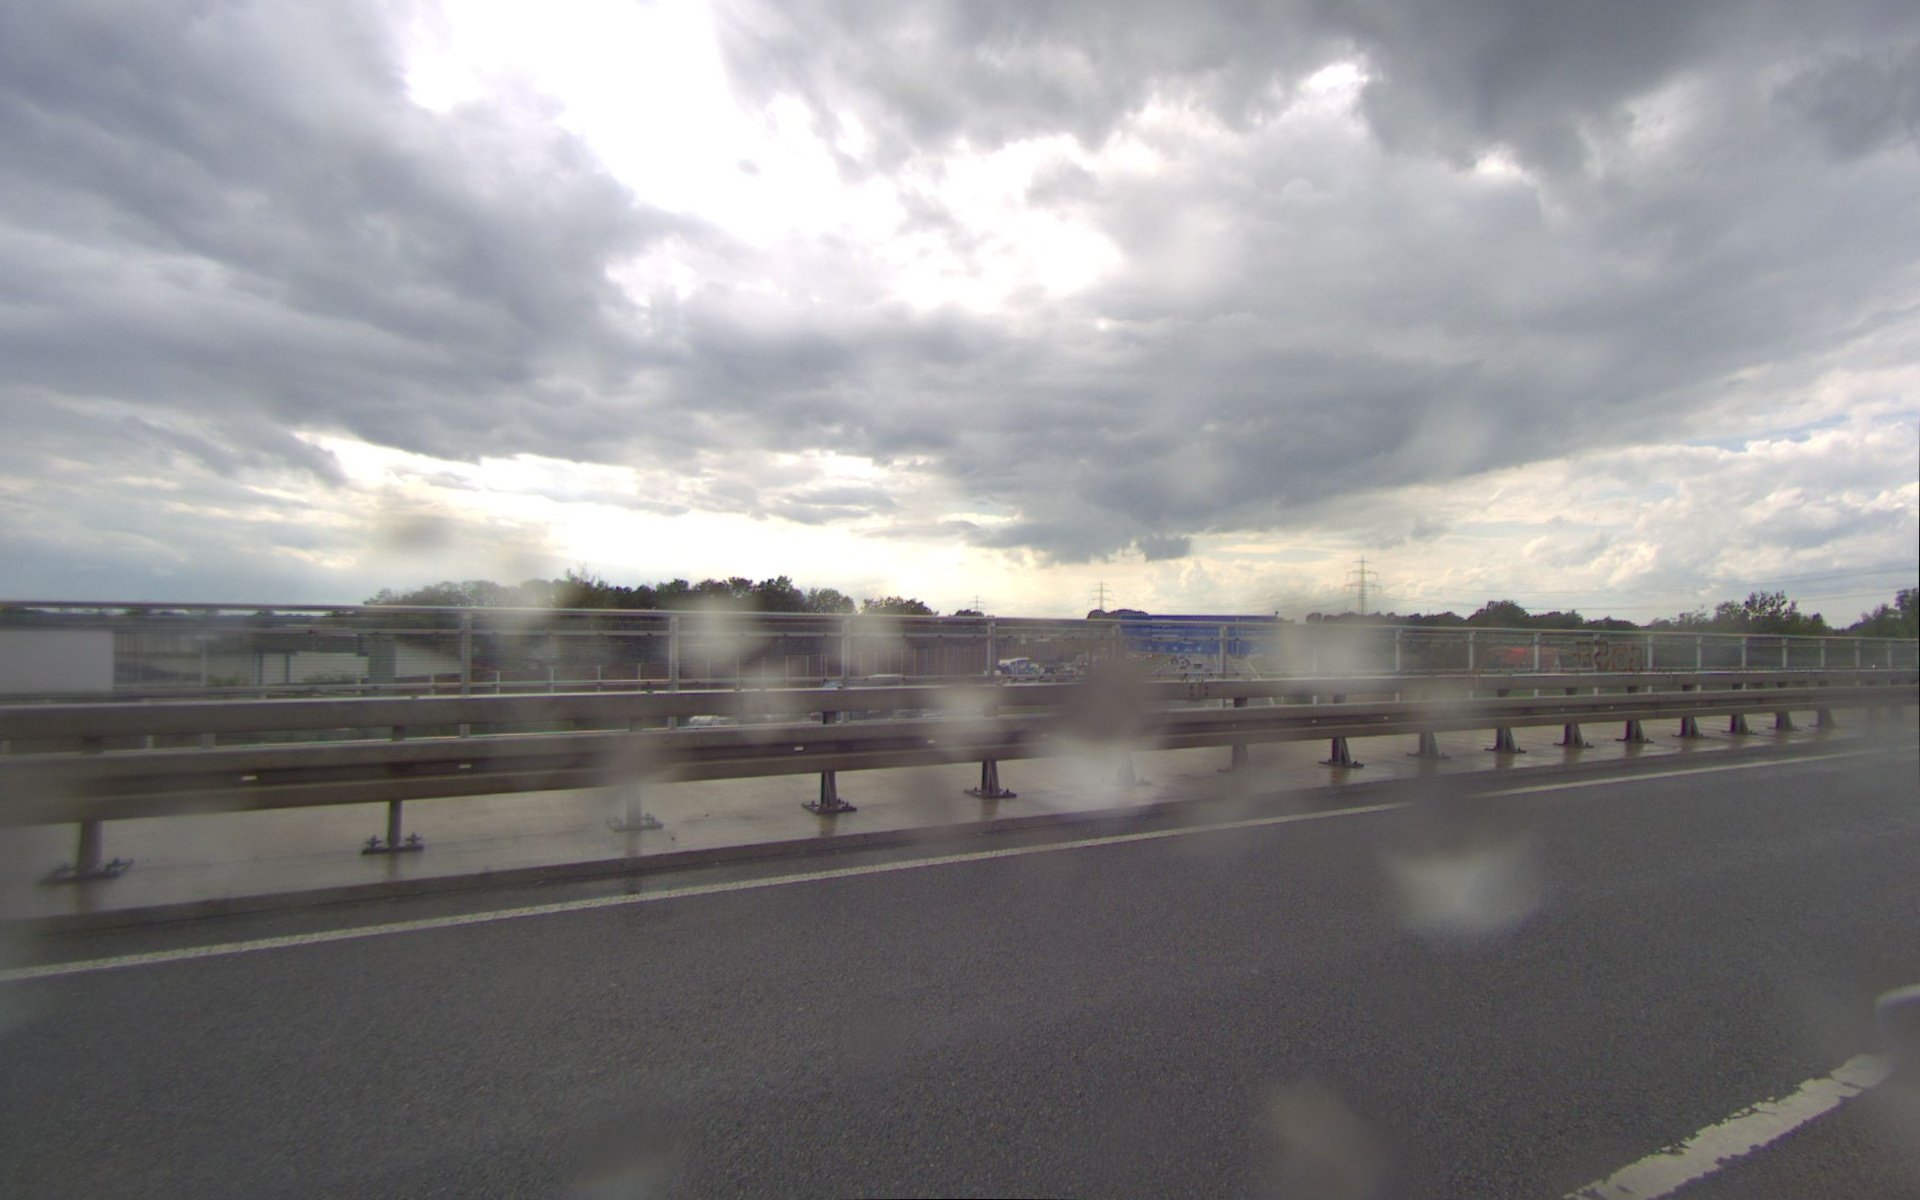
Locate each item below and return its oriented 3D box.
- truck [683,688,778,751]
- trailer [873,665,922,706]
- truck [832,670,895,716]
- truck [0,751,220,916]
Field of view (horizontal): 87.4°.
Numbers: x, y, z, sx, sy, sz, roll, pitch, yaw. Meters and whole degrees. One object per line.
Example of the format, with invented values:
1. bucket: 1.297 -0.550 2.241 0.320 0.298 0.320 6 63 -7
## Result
1. truck: -18.704 9.672 82.869 2.388 3.812 11.173 2 0 17
2. trailer: -6.988 9.613 114.315 2.388 3.812 9.461 2 0 17
3. truck: -9.903 9.542 104.439 2.388 3.812 11.173 2 0 17
4. truck: -30.719 7.835 32.947 2.388 4.055 11.173 2 0 17
